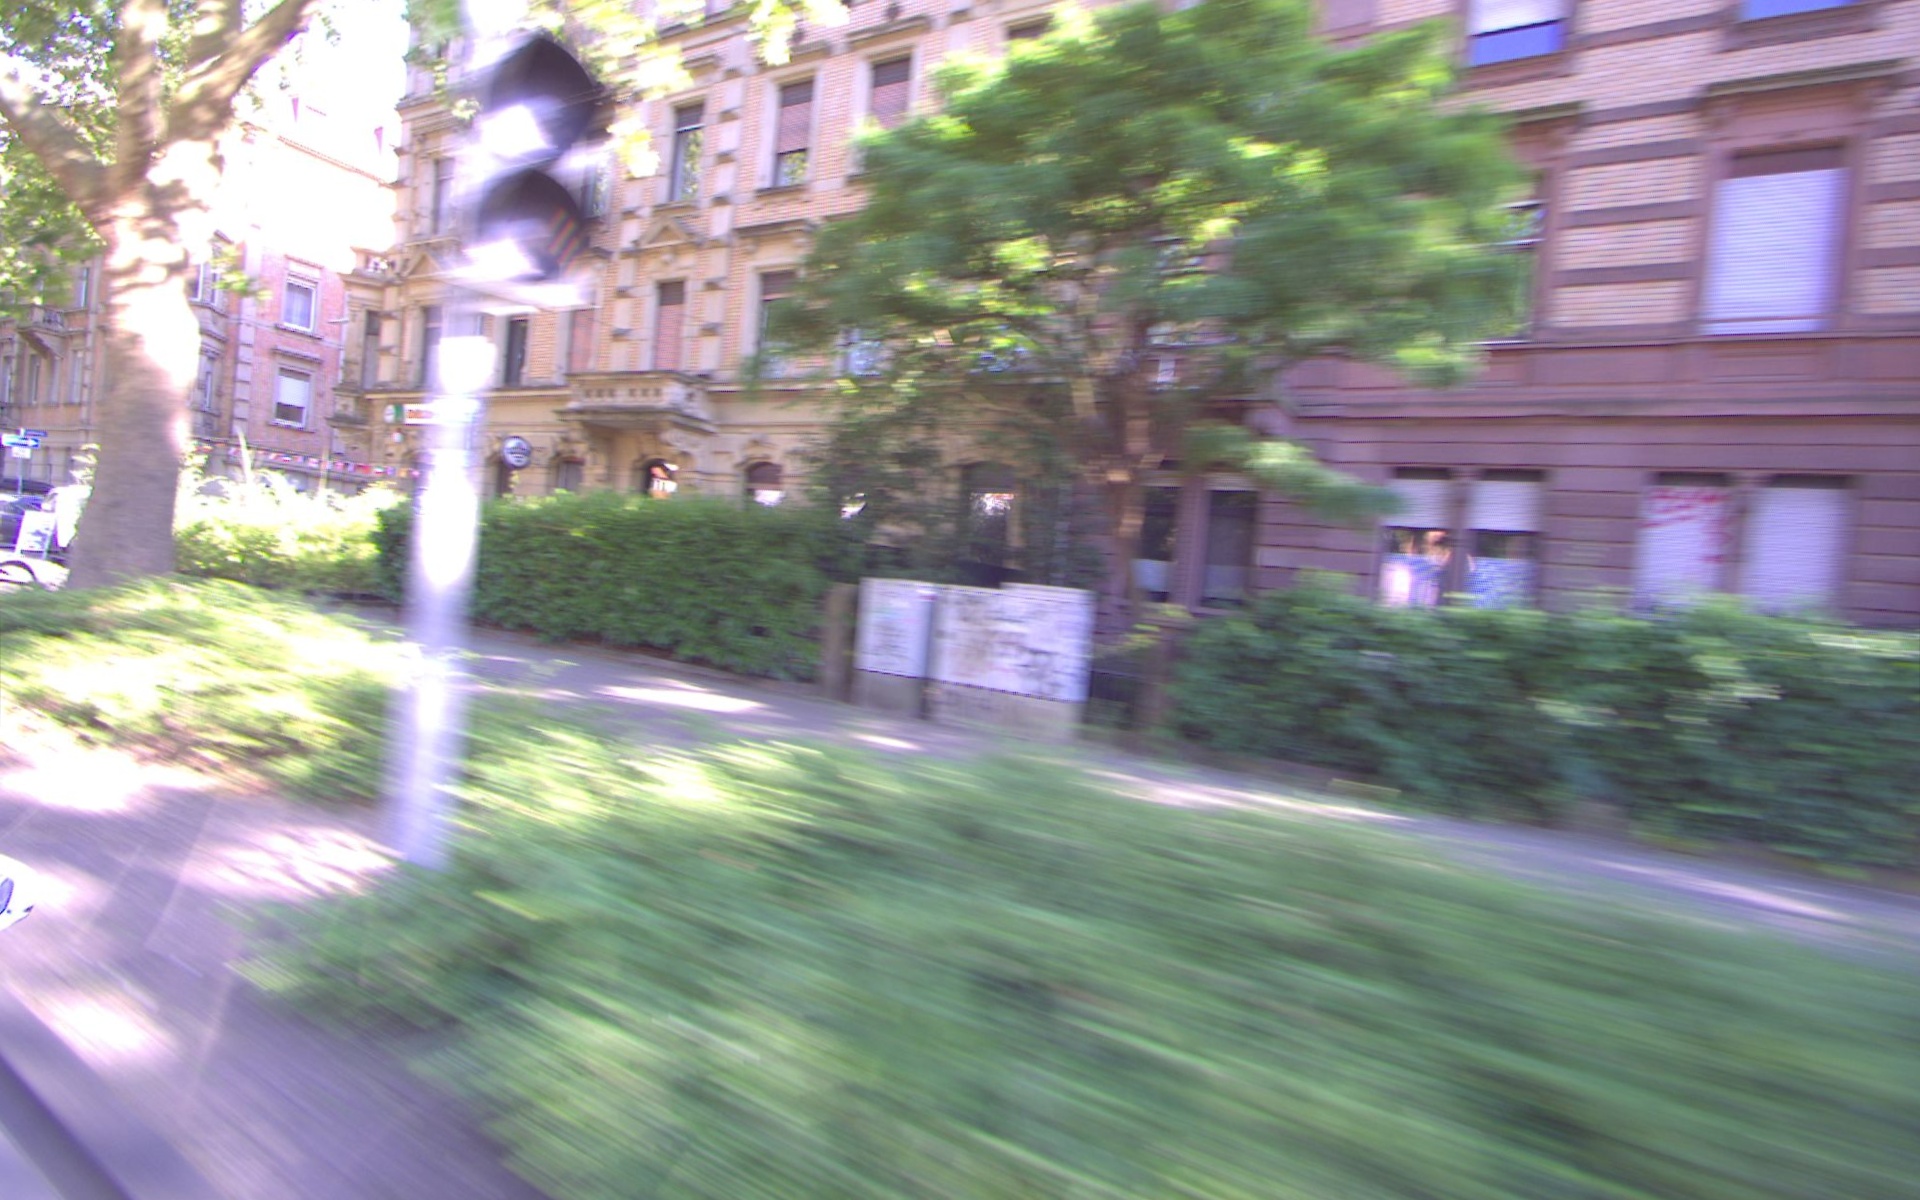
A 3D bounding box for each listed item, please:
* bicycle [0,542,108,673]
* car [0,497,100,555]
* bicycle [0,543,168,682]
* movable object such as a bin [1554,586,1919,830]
[{"bbox_3d":[-8.268,0.058,8.591,0.500,1.056,1.600,7,2,2],"label":"bicycle"},{"bbox_3d":[-27.465,-2.216,28.697,1.962,1.438,4.000,6,0,16],"label":"car"},{"bbox_3d":[-7.720,0.073,8.581,0.532,1.039,1.600,7,2,2],"label":"bicycle"},{"bbox_3d":[8.187,1.028,10.544,3.177,2.022,1.547,6,1,30],"label":"movable object such as a bin"}]
